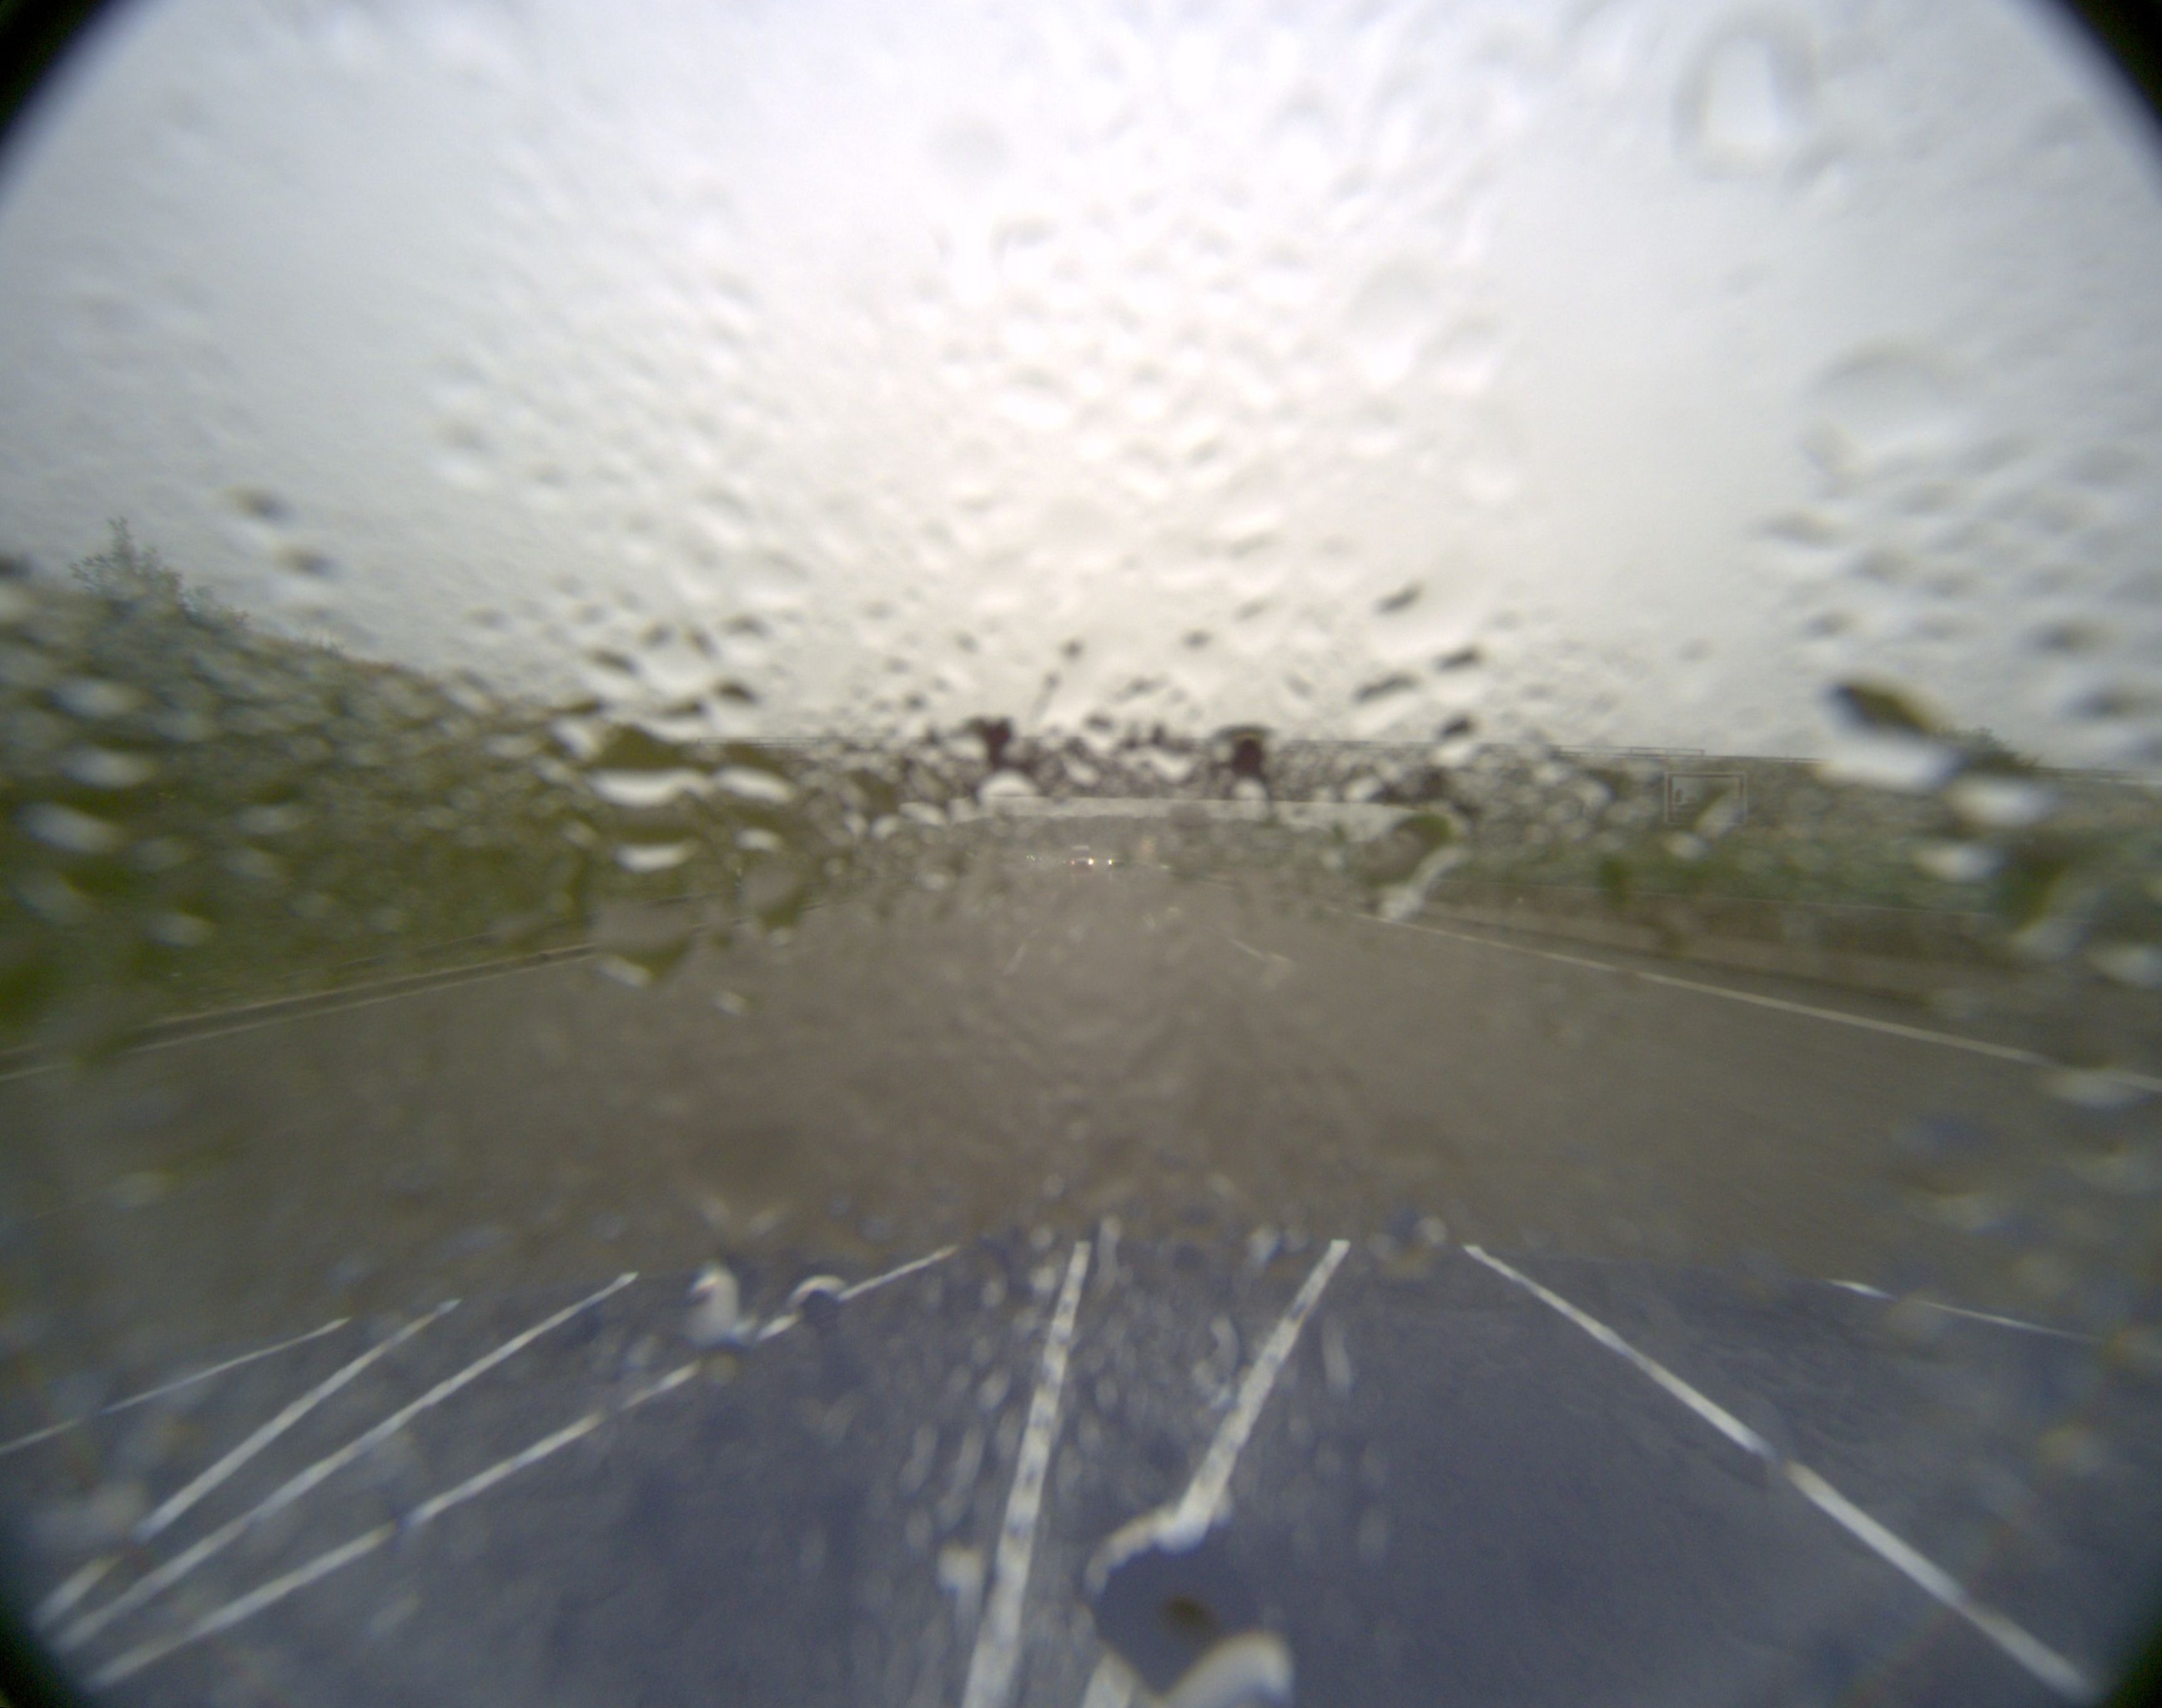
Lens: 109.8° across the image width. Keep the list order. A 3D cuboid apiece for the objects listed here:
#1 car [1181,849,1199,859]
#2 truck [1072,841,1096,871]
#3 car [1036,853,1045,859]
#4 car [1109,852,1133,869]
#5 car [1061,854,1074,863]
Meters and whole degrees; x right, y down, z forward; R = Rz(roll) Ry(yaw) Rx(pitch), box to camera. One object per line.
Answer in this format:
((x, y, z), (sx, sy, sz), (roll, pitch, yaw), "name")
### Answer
((15.400, -0.023, 107.572), (1.883, 1.324, 4.000), (-2, 0, 0), "car")
((0.213, 0.119, 75.436), (1.999, 2.699, 7.996), (-2, 1, -2), "truck")
((-10.754, 0.415, 202.785), (1.998, 1.543, 4.000), (-2, 0, 2), "car")
((4.017, 0.663, 77.477), (1.999, 1.608, 3.999), (-1, 0, -3), "car")
((-2.246, 0.741, 125.807), (1.999, 1.521, 3.999), (-1, 0, -1), "car")
